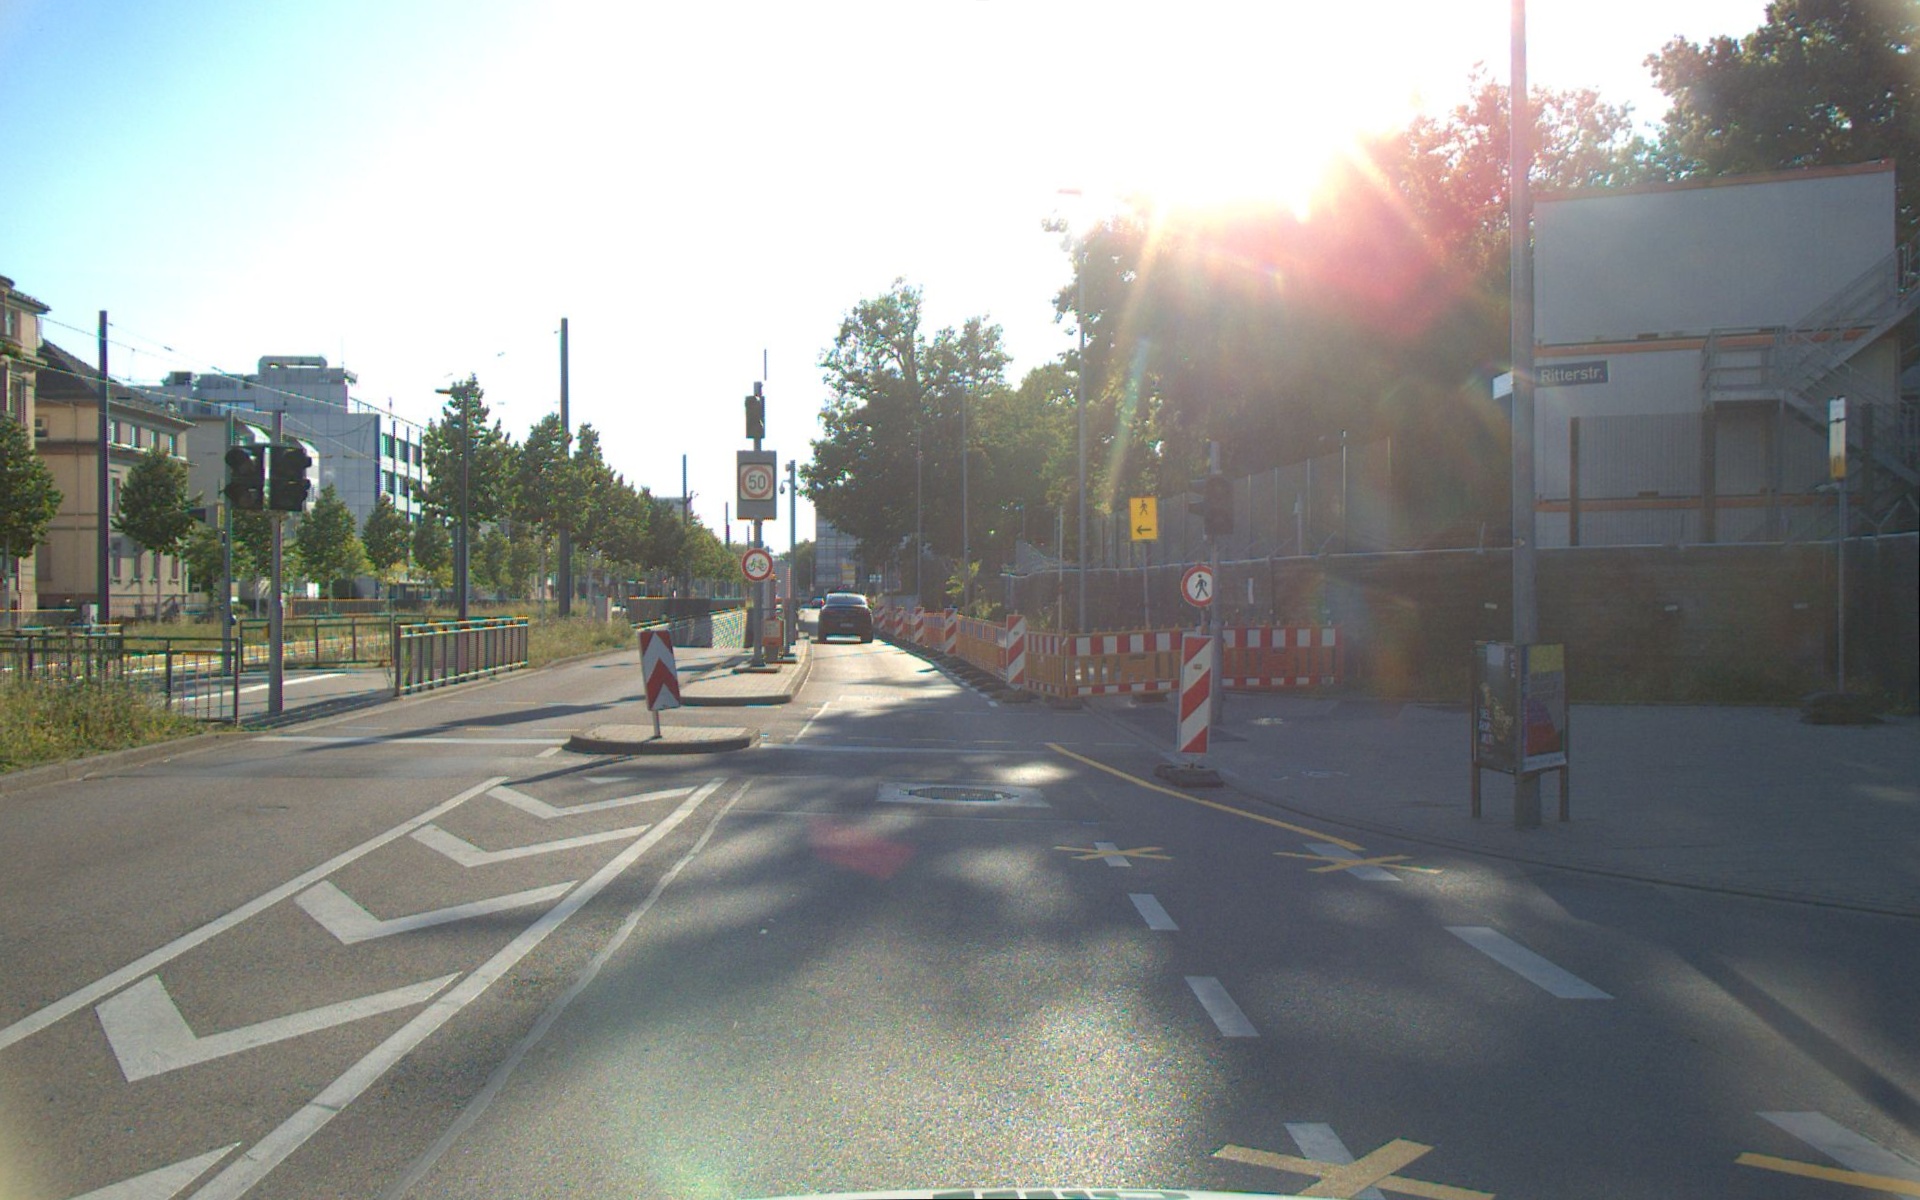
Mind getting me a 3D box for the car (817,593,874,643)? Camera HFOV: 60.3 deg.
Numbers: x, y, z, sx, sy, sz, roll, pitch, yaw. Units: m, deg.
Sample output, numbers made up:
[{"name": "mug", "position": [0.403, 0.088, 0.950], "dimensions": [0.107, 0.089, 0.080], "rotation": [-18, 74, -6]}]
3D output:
[{"name": "car", "position": [-4.196, 0.648, 60.495], "dimensions": [1.966, 1.688, 3.996], "rotation": [2, -1, -5]}]
